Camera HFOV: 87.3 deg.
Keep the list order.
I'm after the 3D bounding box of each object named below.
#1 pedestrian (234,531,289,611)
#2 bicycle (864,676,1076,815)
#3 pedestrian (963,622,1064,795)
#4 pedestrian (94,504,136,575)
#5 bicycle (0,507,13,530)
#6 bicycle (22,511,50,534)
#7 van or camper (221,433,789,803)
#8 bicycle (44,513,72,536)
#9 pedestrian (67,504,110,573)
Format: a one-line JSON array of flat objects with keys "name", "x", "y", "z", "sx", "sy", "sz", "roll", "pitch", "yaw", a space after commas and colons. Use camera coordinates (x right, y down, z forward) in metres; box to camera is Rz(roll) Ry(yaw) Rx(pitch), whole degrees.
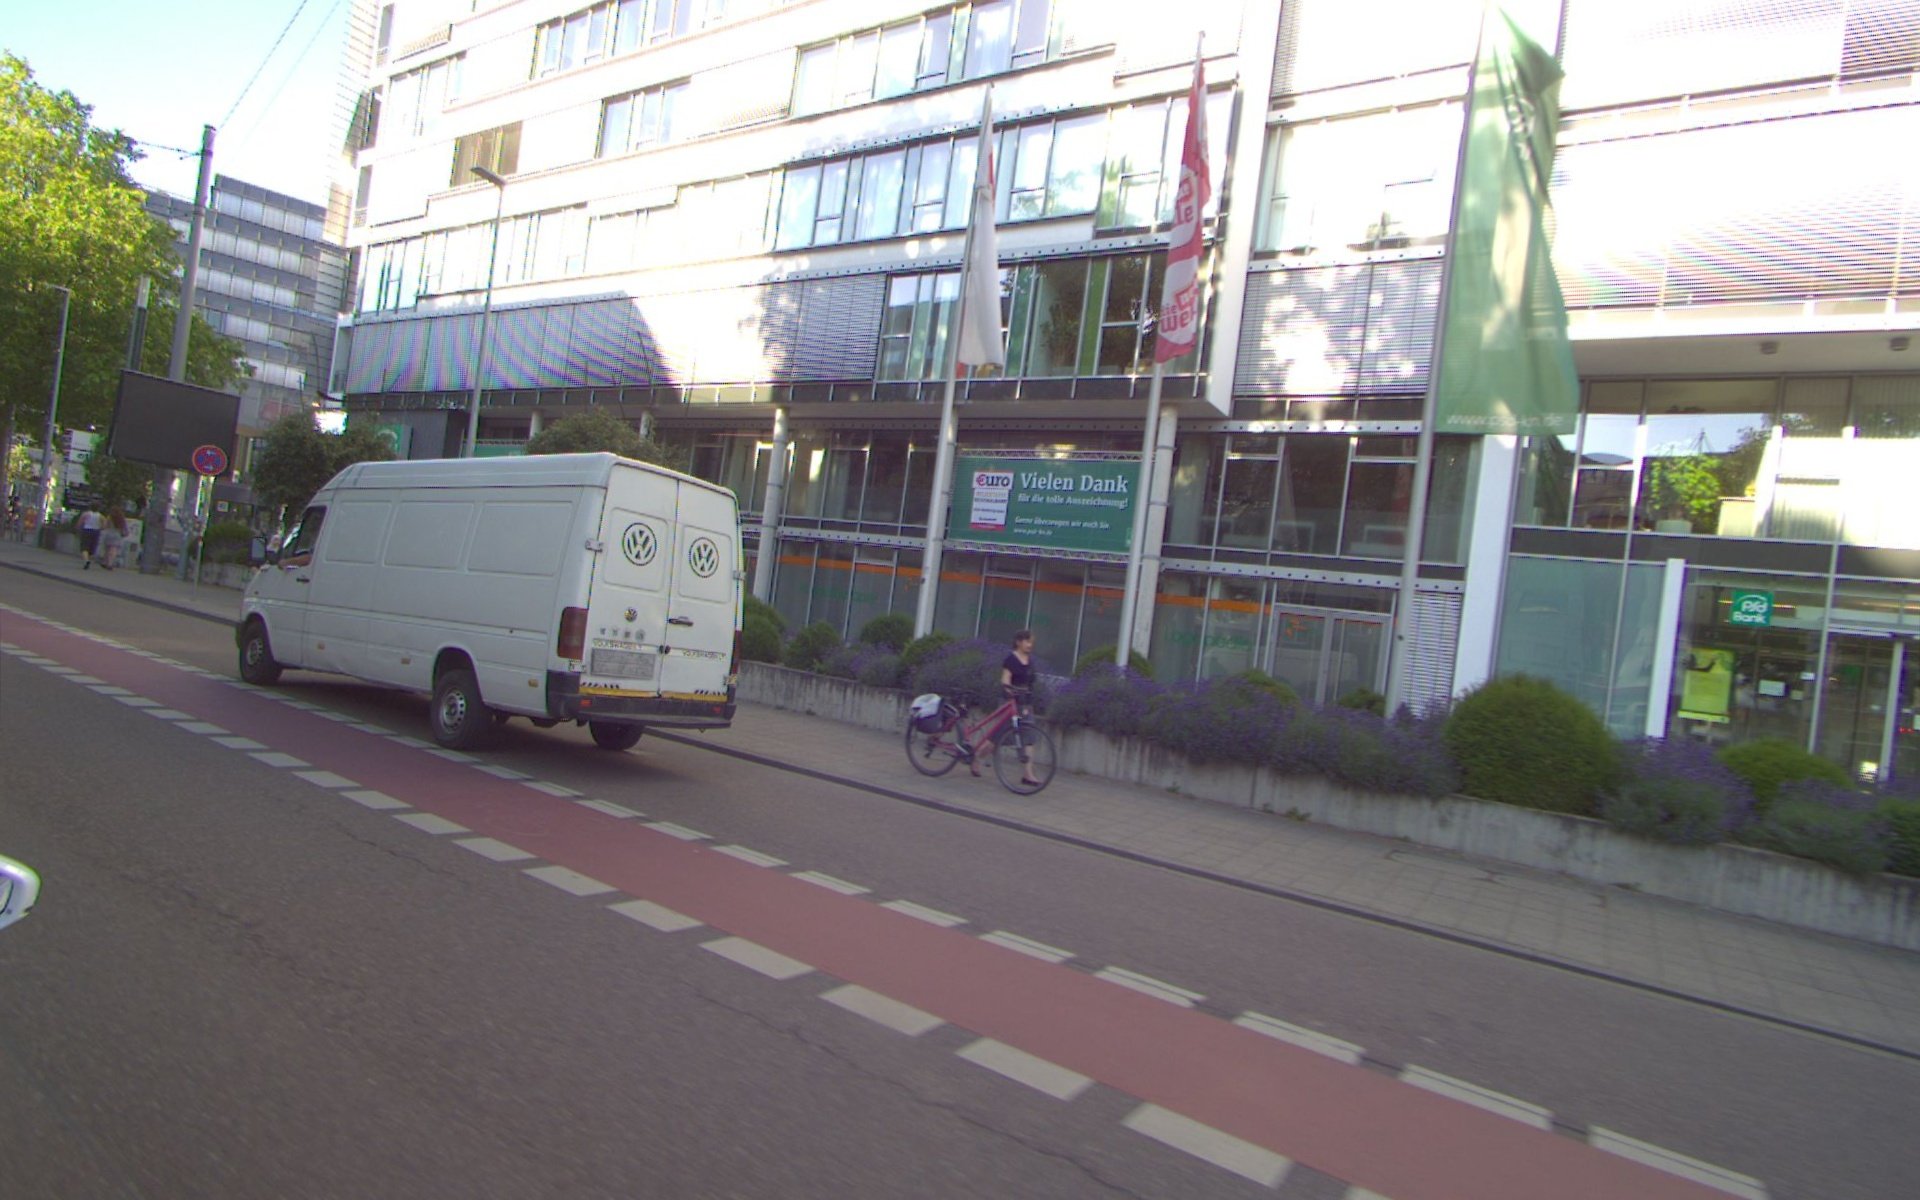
[{"name": "pedestrian", "x": -14.741, "y": -0.597, "z": 21.240, "sx": 0.711, "sy": 1.601, "sz": 0.642, "roll": 7, "pitch": 3, "yaw": 30}, {"name": "bicycle", "x": 0.062, "y": 1.452, "z": 10.380, "sx": 2.165, "sy": 0.988, "sz": 0.520, "roll": 8, "pitch": 4, "yaw": 32}, {"name": "pedestrian", "x": 0.577, "y": 1.137, "z": 10.703, "sx": 0.640, "sy": 1.701, "sz": 0.647, "roll": 8, "pitch": 0, "yaw": 30}, {"name": "pedestrian", "x": -22.913, "y": -1.650, "z": 27.269, "sx": 0.892, "sy": 1.820, "sz": 0.540, "roll": 7, "pitch": 3, "yaw": 32}, {"name": "bicycle", "x": -45.526, "y": -3.882, "z": 47.662, "sx": 1.739, "sy": 0.994, "sz": 0.504, "roll": 7, "pitch": 1, "yaw": 33}, {"name": "bicycle", "x": -44.822, "y": -3.762, "z": 48.799, "sx": 1.739, "sy": 0.994, "sz": 0.504, "roll": 7, "pitch": 1, "yaw": 33}, {"name": "van or camper", "x": -4.838, "y": -0.048, "z": 10.142, "sx": 6.203, "sy": 2.747, "sz": 1.972, "roll": 7, "pitch": -1, "yaw": 34}, {"name": "bicycle", "x": -44.324, "y": -3.711, "z": 49.424, "sx": 1.739, "sy": 0.994, "sz": 0.504, "roll": 7, "pitch": 1, "yaw": 33}, {"name": "pedestrian", "x": -23.097, "y": -1.624, "z": 26.662, "sx": 0.892, "sy": 1.725, "sz": 0.564, "roll": 7, "pitch": 3, "yaw": 32}]
